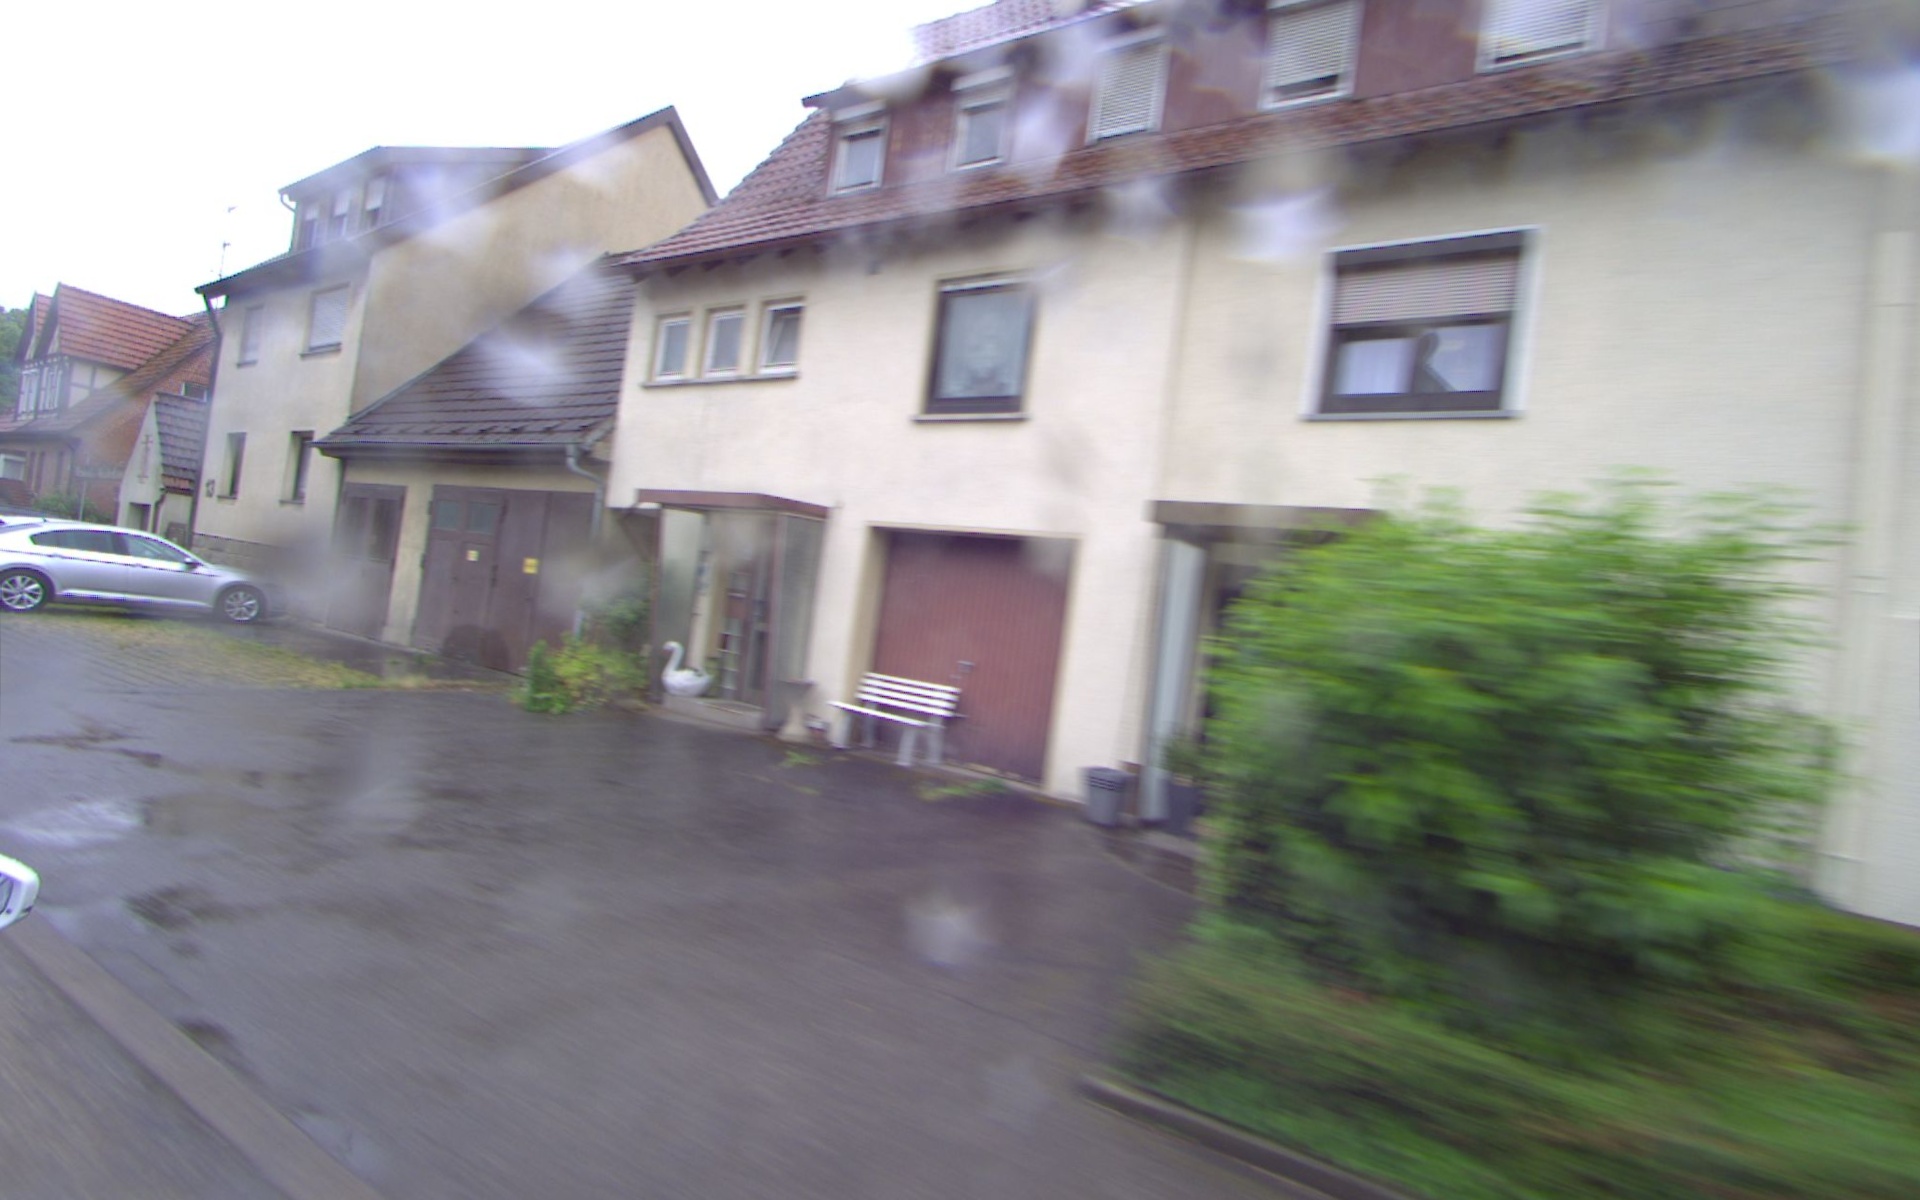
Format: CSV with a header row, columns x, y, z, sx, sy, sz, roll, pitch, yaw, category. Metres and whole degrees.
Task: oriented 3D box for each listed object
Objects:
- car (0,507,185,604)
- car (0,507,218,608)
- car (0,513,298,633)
x,y,z,sx,sy,sz,roll,pitch,yaw,category
-18.411,-0.932,20.269,1.720,1.601,3.993,5,-2,32,car
-16.100,-0.736,18.617,1.693,1.548,3.419,2,-2,36,car
-13.833,-0.450,16.445,1.795,1.431,4.612,6,-3,39,car
